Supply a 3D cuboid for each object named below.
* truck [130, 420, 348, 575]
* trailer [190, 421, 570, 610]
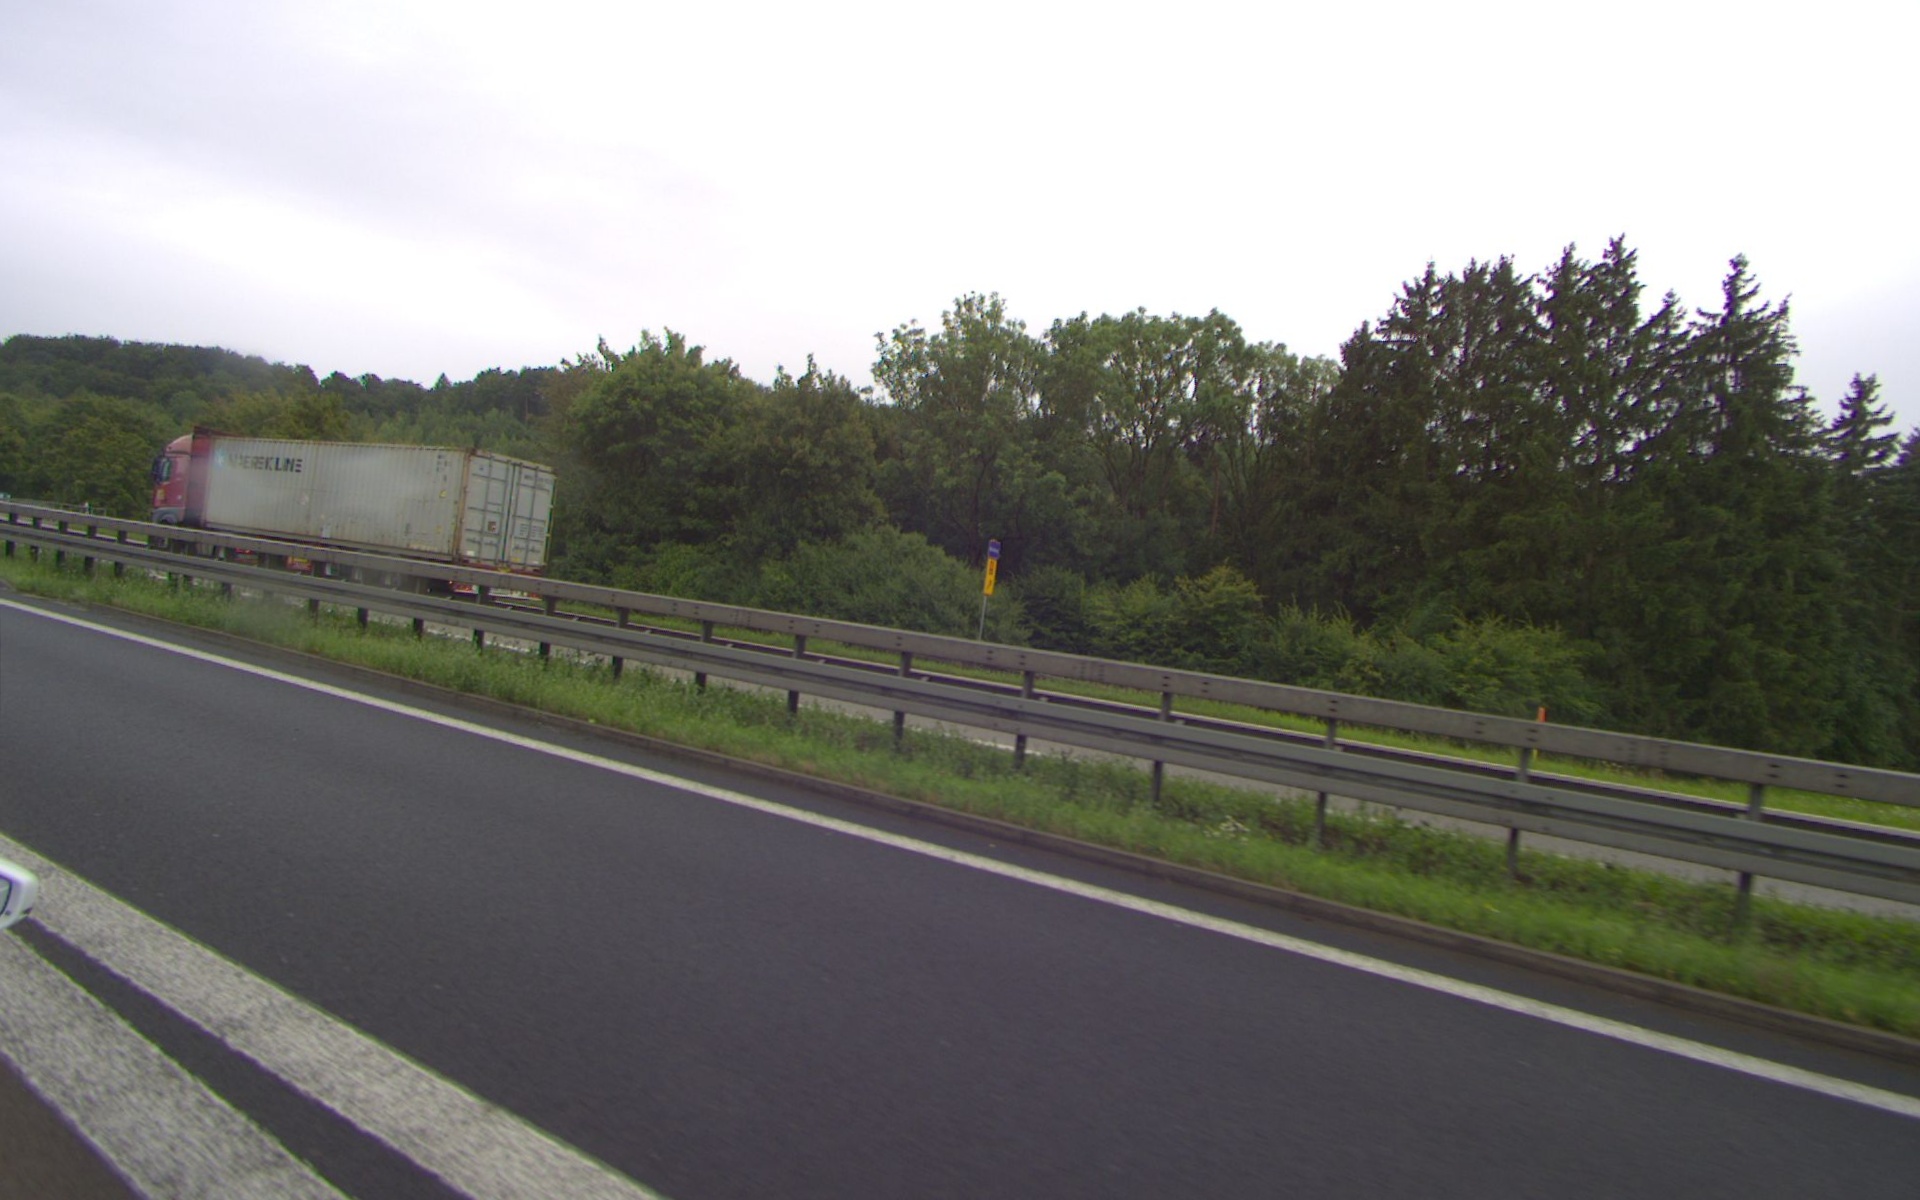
[{"bbox_3d":[-21.692,-3.112,30.211,6.283,3.931,2.621,7,-1,30],"label":"truck"},{"bbox_3d":[-15.793,-2.432,26.769,12.278,3.940,2.609,6,-1,30],"label":"trailer"}]
